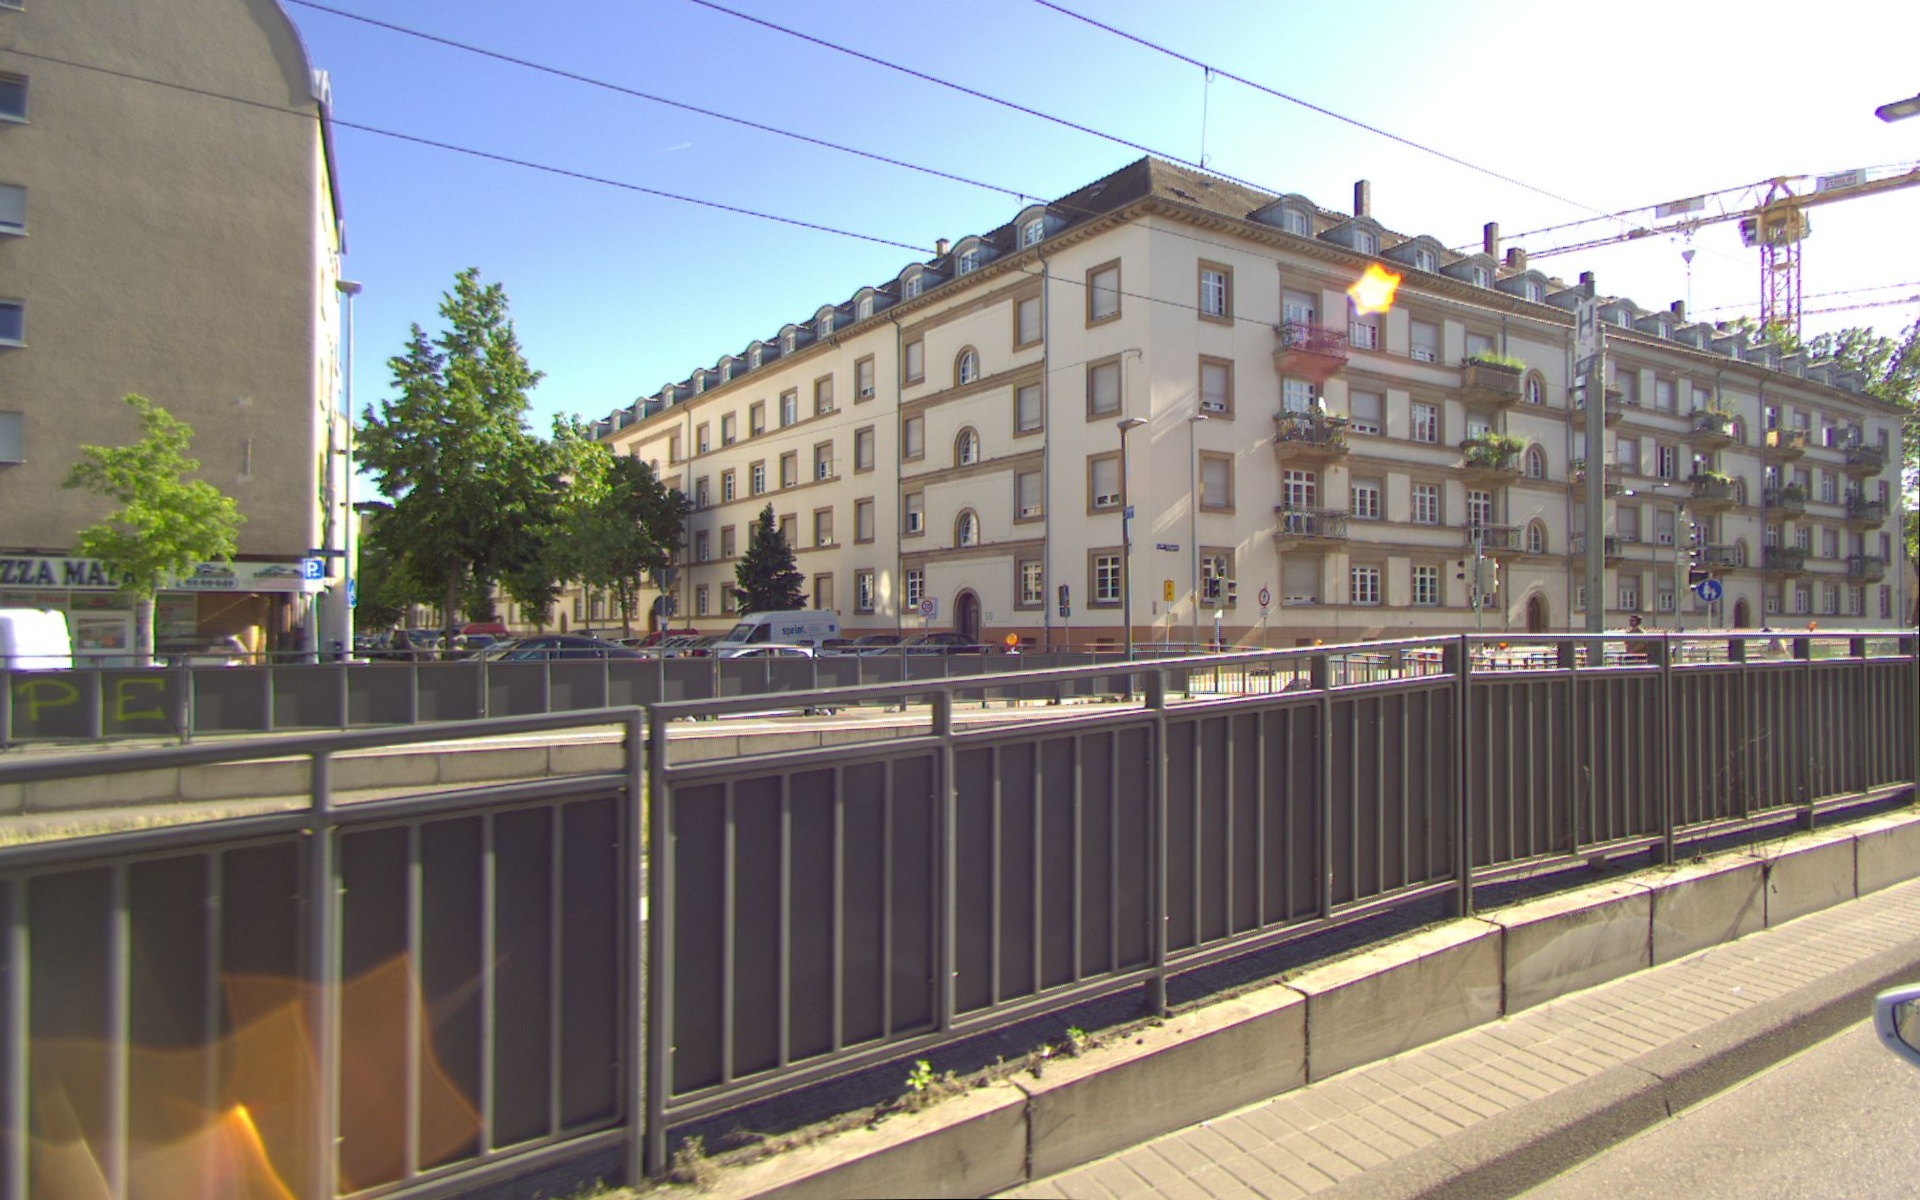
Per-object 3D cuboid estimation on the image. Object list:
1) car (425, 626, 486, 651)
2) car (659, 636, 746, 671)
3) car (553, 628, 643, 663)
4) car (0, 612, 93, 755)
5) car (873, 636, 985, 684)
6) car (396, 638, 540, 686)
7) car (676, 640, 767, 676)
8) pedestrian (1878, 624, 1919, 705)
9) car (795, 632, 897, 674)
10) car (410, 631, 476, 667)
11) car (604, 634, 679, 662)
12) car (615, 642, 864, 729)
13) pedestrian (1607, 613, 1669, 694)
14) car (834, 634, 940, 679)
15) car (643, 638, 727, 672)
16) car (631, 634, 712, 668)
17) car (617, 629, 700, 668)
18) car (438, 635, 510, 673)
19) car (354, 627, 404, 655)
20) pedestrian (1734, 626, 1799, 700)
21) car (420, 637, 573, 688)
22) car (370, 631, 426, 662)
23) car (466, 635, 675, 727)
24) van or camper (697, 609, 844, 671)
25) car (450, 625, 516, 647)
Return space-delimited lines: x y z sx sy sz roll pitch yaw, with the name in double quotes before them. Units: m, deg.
"car" -44.812 3.411 89.182 4.533 2.127 2.023 1 -2 -39
"car" -12.132 2.490 47.429 3.635 1.542 1.672 1 -2 -40
"car" -21.976 2.748 61.106 4.832 2.033 1.920 1 -2 -40
"car" -18.582 1.413 16.964 5.564 2.401 1.989 1 -1 -23
"car" -1.051 2.040 34.810 3.643 1.542 1.672 1 -2 -40
"car" -16.253 1.998 33.294 3.974 1.470 1.762 1 -2 -45
"car" -10.716 2.579 45.268 3.635 1.484 1.672 1 -2 -40
"pedestrian" 18.907 1.263 19.942 0.788 1.557 0.809 1 -1 -29
"car" -4.385 2.023 38.850 3.635 1.542 1.672 1 -2 -40
"car" -25.908 2.428 50.282 1.942 1.684 3.950 1 -2 -43
"car" -17.669 2.639 55.723 3.635 1.521 1.672 1 -2 -40
"car" -3.822 1.424 17.546 3.916 1.303 1.686 2 -1 -32
"pedestrian" 15.347 1.191 22.762 0.850 1.804 0.910 0 -1 7
"car" -2.659 2.035 36.957 3.643 1.542 1.672 1 -2 -40
"car" -13.447 2.665 49.273 3.635 1.542 1.672 1 -2 -40
"car" -14.790 2.586 51.538 3.635 1.617 1.672 1 -2 -40
"car" -16.000 2.551 53.454 3.911 1.953 1.672 1 -2 -40
"car" -22.601 2.471 46.653 1.942 1.684 3.950 1 -2 -43
"car" -37.175 2.604 64.267 1.942 1.684 3.950 1 -2 -43
"pedestrian" 17.752 1.364 22.118 0.899 1.557 0.861 1 -1 -30
"car" -14.368 1.892 31.280 3.974 1.470 1.762 1 -2 -45
"car" -32.017 2.621 57.197 1.942 1.684 3.950 1 -2 -43
"car" -8.359 1.662 21.626 3.955 1.782 1.806 1 -2 -32
"van or camper" -7.846 1.662 42.040 5.912 2.432 1.976 1 -2 -42
"car" -39.043 2.921 82.311 4.533 1.754 2.023 1 -2 -39
